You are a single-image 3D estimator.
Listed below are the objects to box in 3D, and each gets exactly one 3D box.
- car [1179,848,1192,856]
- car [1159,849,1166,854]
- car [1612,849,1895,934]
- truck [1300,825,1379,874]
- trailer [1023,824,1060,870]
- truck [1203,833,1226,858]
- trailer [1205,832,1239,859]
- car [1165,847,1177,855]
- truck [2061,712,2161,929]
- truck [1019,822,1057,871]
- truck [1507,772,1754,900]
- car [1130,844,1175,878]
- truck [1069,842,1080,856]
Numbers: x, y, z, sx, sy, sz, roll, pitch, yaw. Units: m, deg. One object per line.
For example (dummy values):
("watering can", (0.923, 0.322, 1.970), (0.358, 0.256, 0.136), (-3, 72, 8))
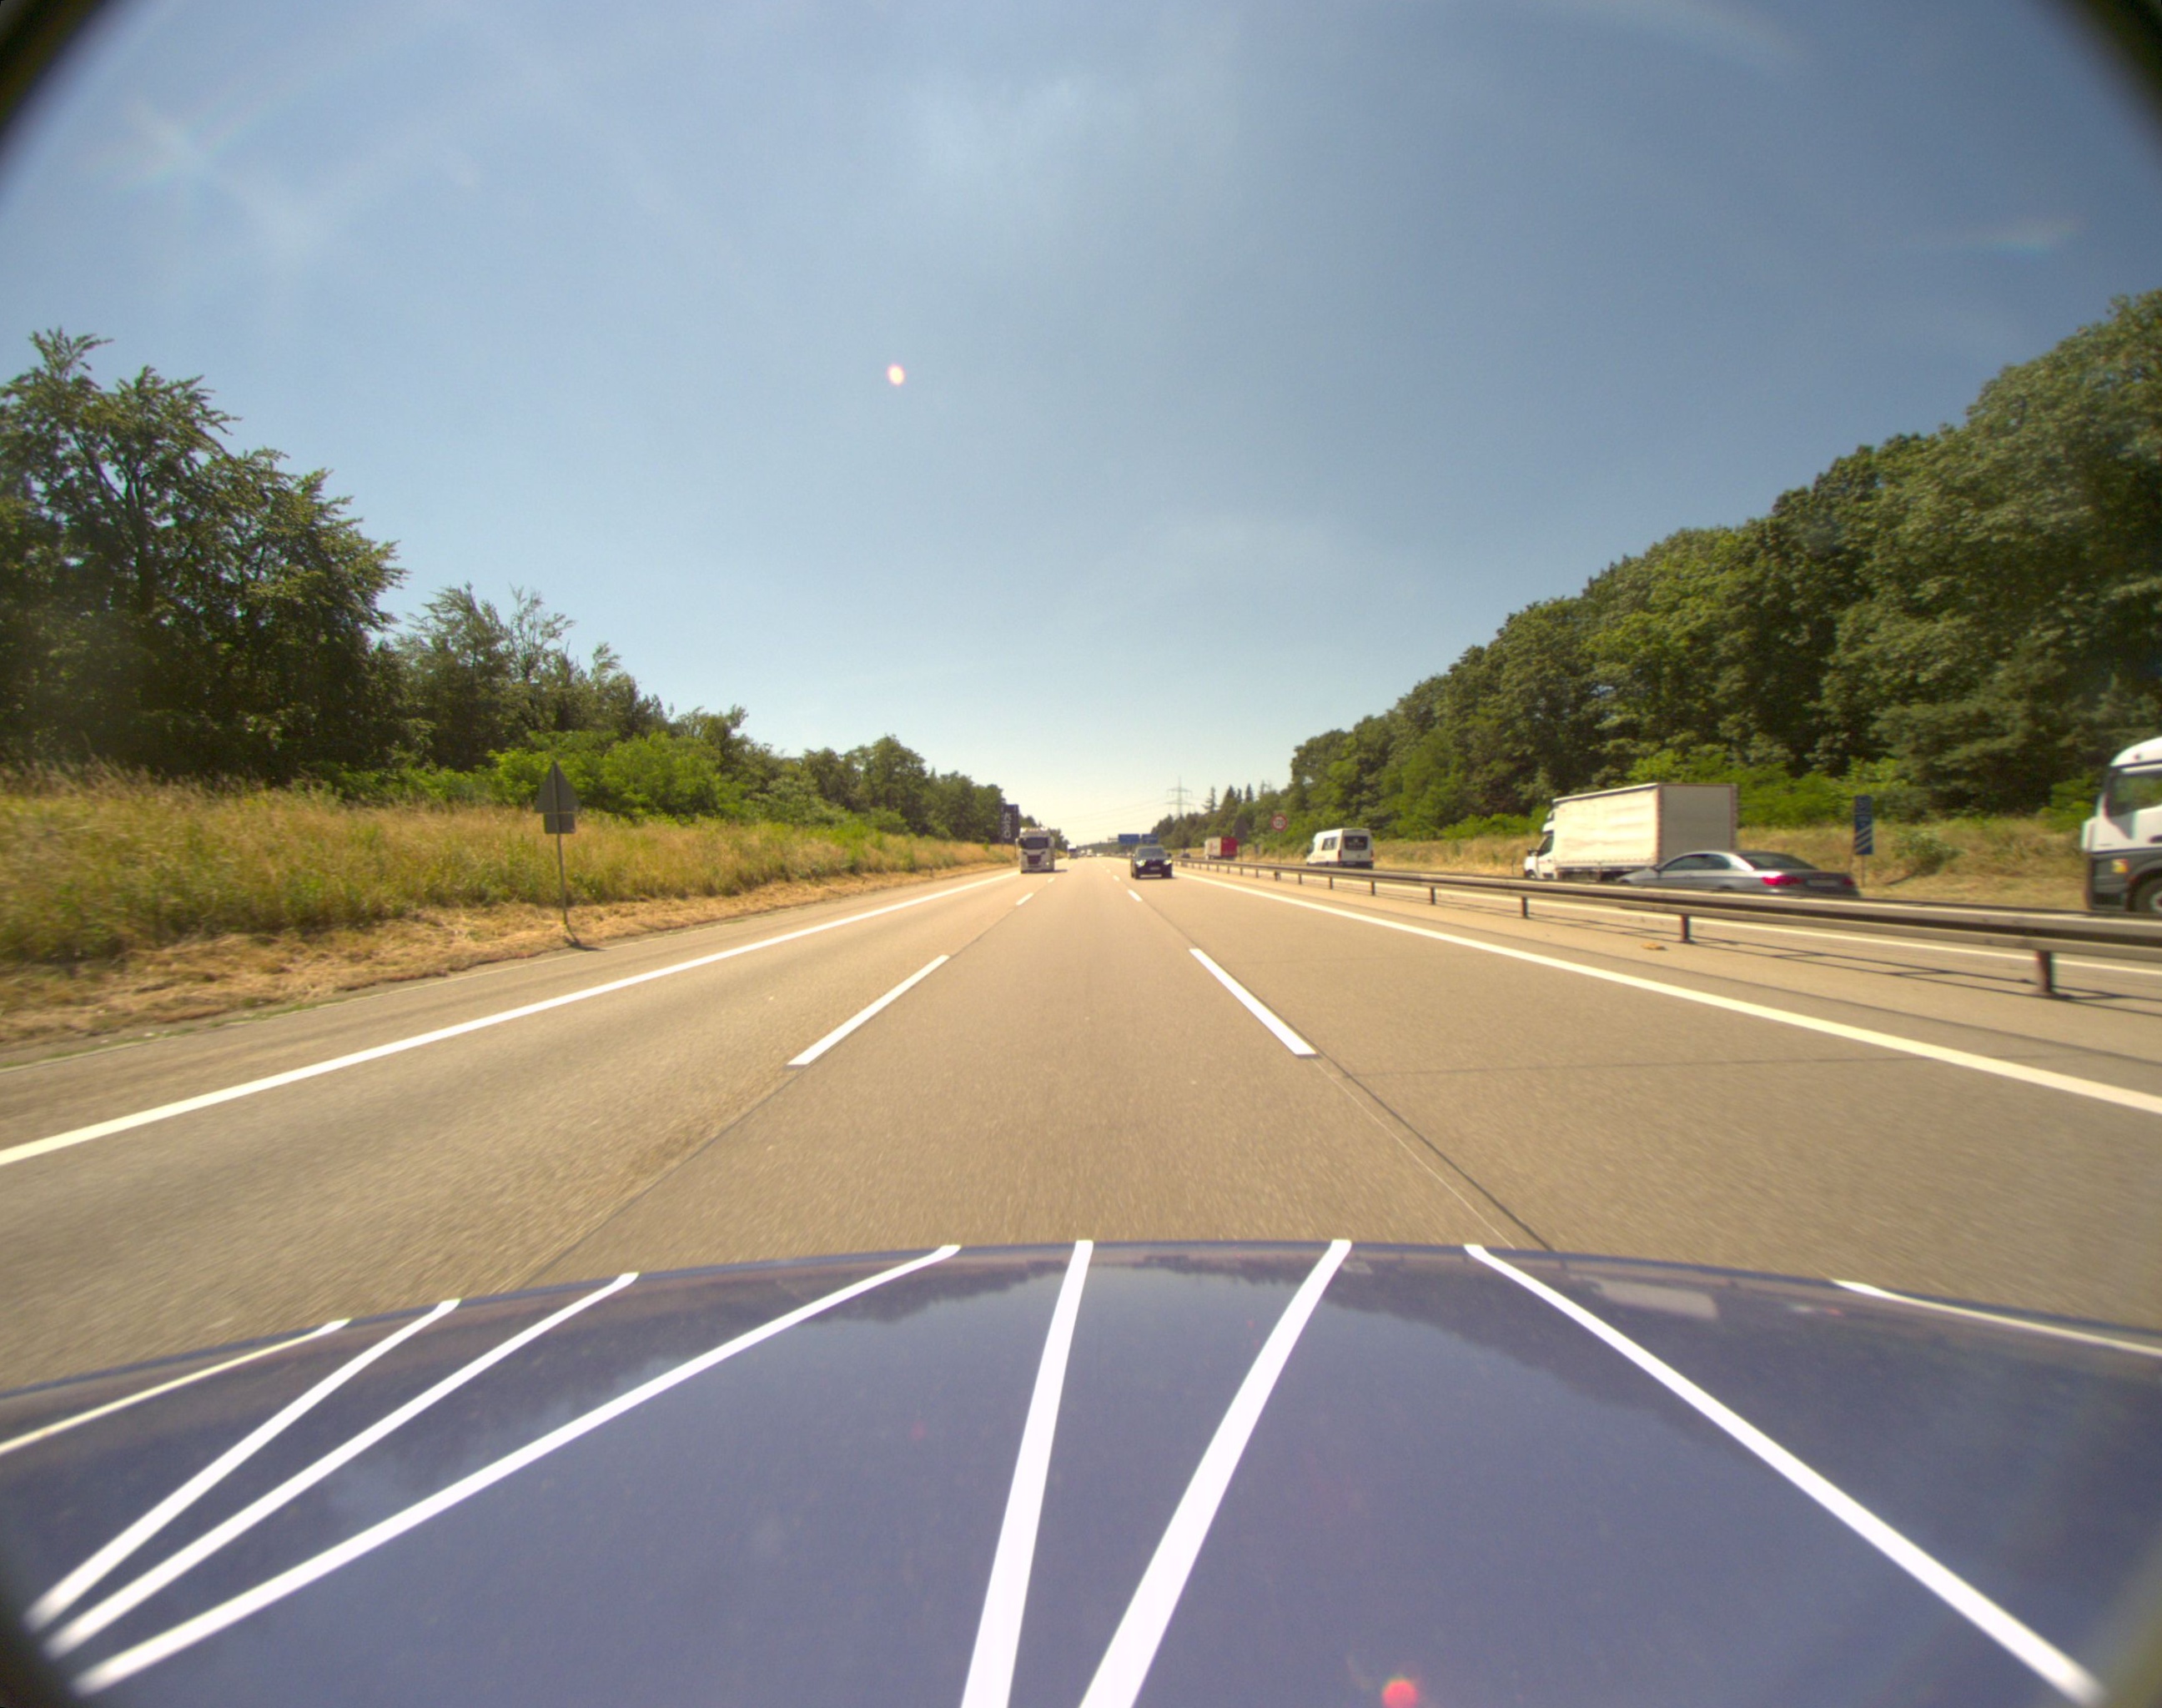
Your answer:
("car", (20.064, -0.360, 146.374), (1.893, 1.426, 4.582), (1, 1, 1))
("car", (24.081, -0.856, 224.851), (1.776, 1.408, 3.870), (1, 1, 0))
("car", (13.070, 0.623, 15.242), (1.608, 1.391, 4.543), (2, 1, 0))
("truck", (15.216, -0.292, 45.335), (2.088, 2.608, 8.030), (2, 1, 1))
("trailer", (-3.477, -0.650, 69.034), (2.605, 3.812, 8.698), (-2, 0, 1))
("truck", (23.088, -1.481, 131.546), (2.819, 4.095, 5.674), (1, 1, 1))
("trailer", (23.065, -1.422, 124.864), (2.819, 4.095, 14.546), (1, 1, 0))
("car", (19.982, -0.670, 168.530), (1.894, 1.671, 4.721), (1, 1, 0))
("truck", (21.138, -0.572, 12.296), (2.511, 3.991, 6.124), (2, 1, 1))
("truck", (-3.547, -0.602, 63.923), (2.605, 3.812, 5.969), (-2, 1, 1))
("truck", (17.932, -0.558, 25.709), (2.463, 3.585, 8.119), (2, 1, 1))
("car", (3.915, 0.344, 42.493), (1.945, 1.742, 5.812), (-2, 0, 0))
("truck", (-1.849, -1.400, 213.656), (2.593, 3.534, 8.648), (-2, 0, 1))
